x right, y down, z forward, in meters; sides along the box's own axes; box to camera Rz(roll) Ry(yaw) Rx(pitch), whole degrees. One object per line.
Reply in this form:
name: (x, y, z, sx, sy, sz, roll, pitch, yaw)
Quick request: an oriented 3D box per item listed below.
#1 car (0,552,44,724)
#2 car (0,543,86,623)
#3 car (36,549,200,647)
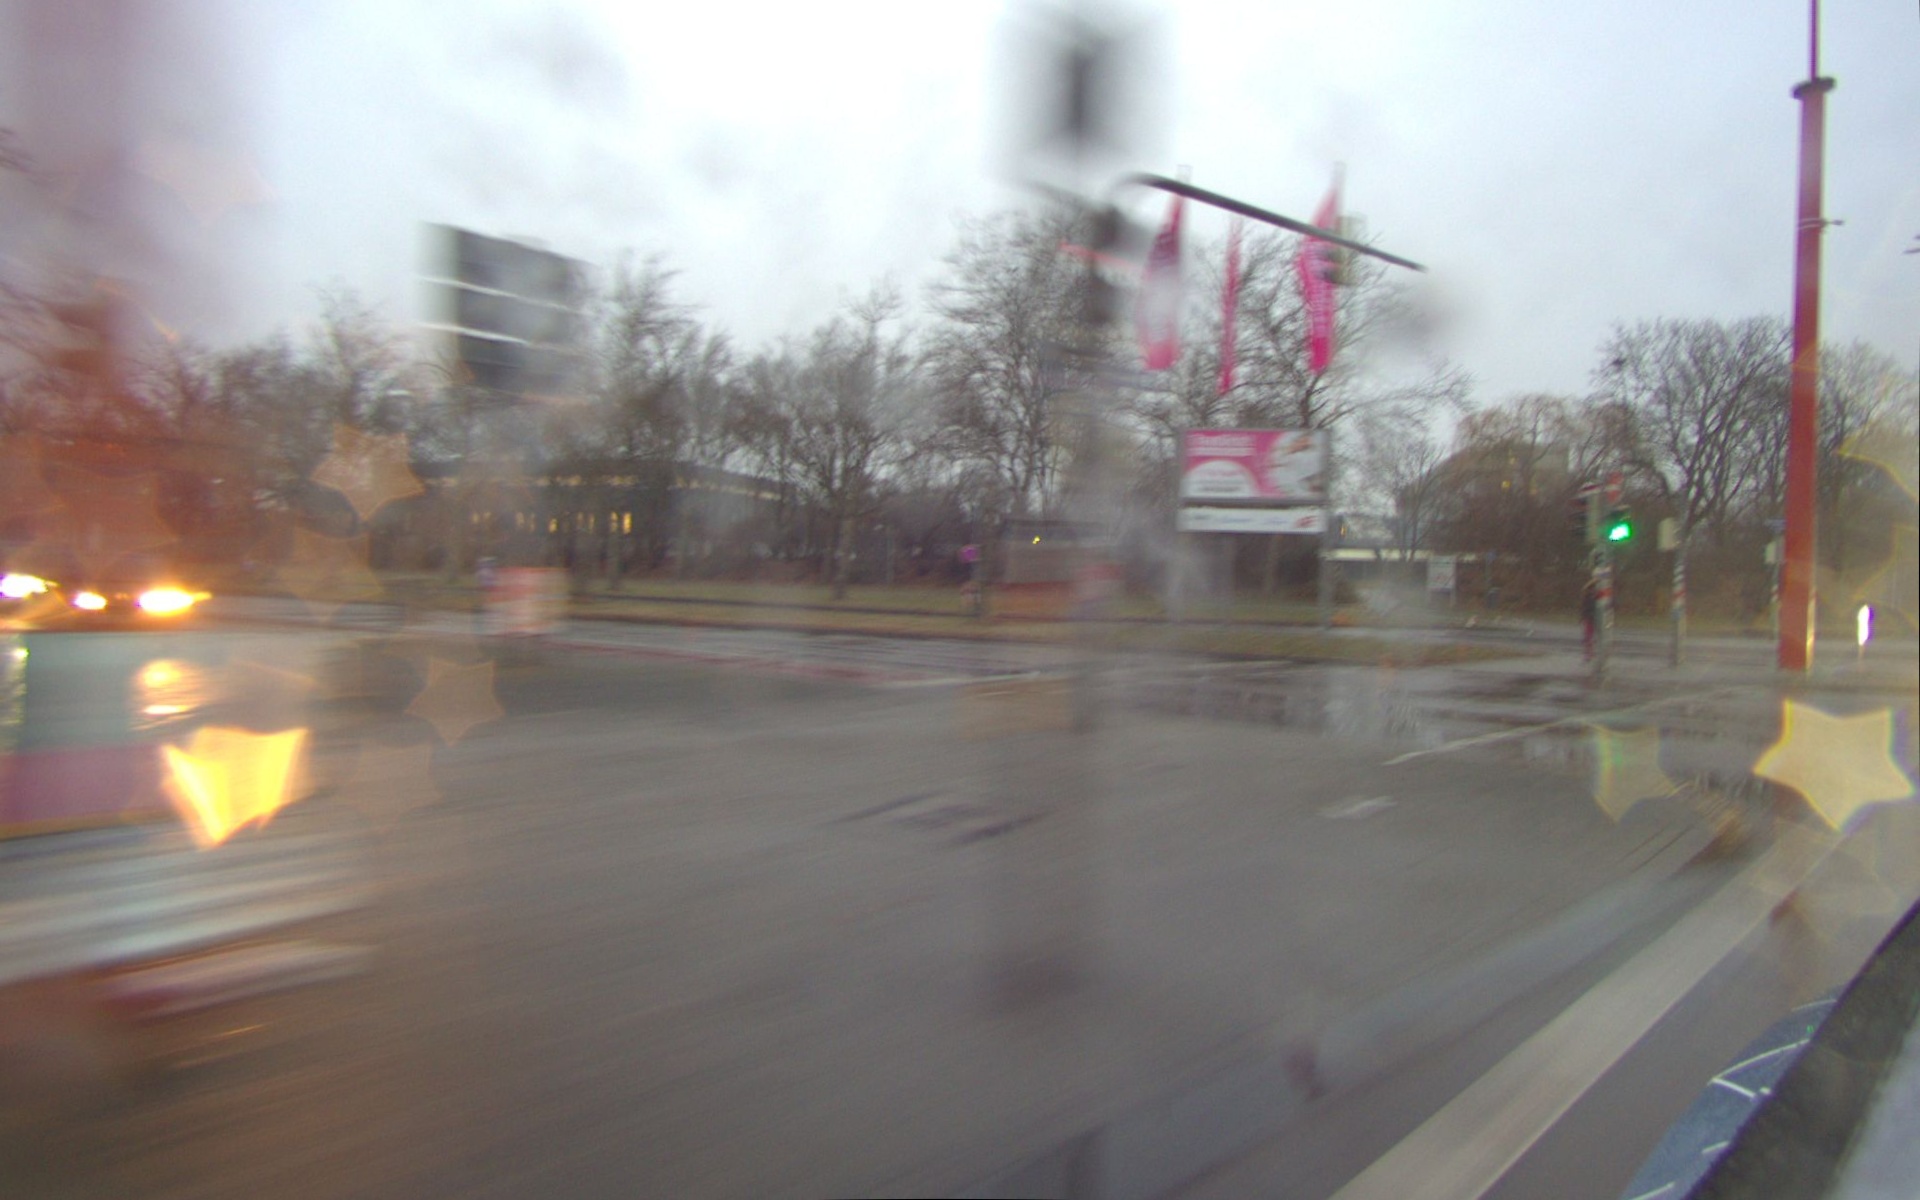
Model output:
car: (-8.272, 0.360, 6.199, 1.843, 1.393, 4.765, 0, 2, -13)
car: (-20.895, -0.423, 22.340, 3.867, 1.655, 1.636, 2, 2, 37)
car: (-13.100, -0.103, 15.659, 3.989, 1.326, 1.611, 3, 2, 45)
